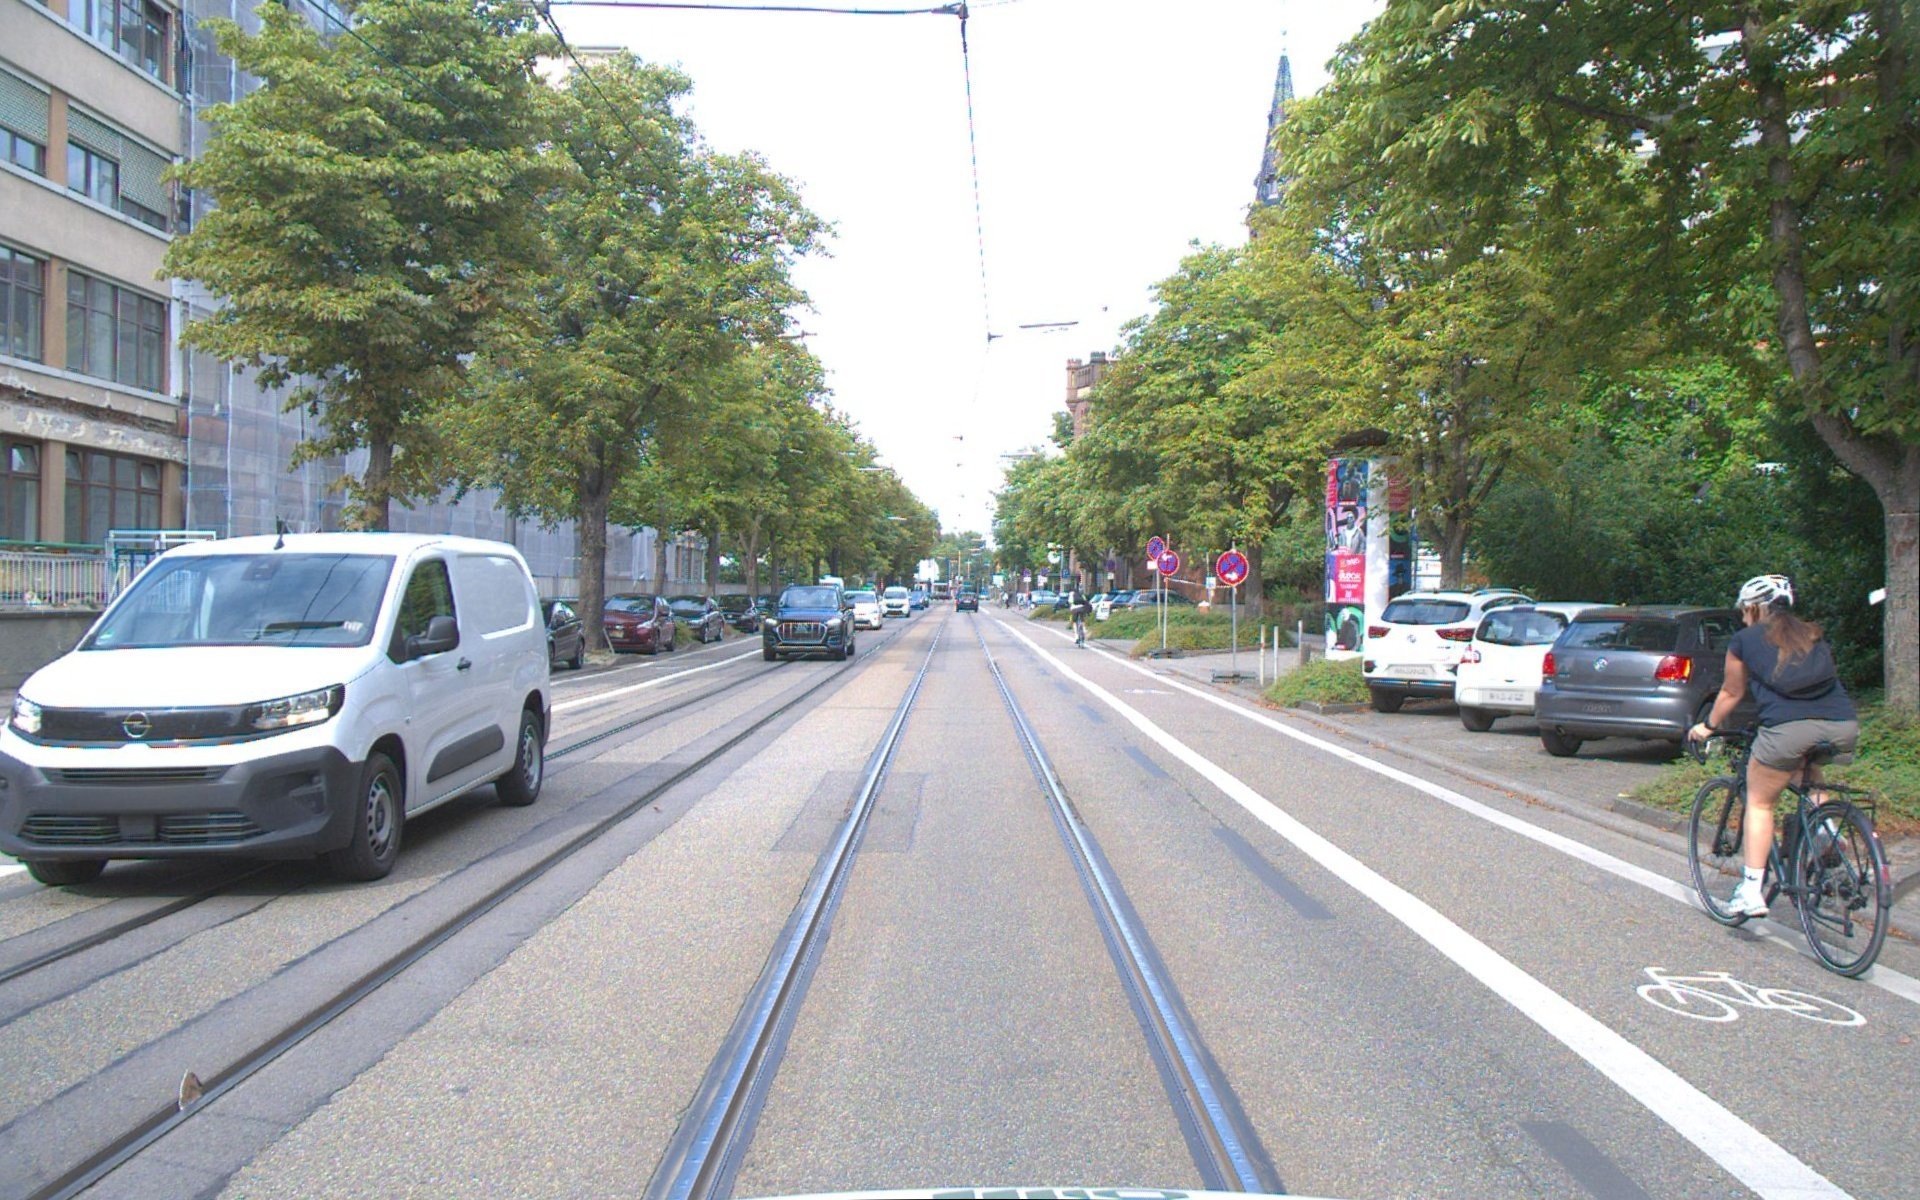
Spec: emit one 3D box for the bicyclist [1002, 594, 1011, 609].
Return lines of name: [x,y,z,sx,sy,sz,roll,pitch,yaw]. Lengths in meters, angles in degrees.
bicyclist: [4.680,0.128,167.071,0.828,1.531,0.769,1,0,7]

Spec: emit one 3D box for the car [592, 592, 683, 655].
car: [-8.262,0.564,42.667,1.602,1.522,3.962,1,0,-1]

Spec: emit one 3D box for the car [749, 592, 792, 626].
car: [-8.292,0.375,72.585,1.558,1.427,3.961,1,0,-2]

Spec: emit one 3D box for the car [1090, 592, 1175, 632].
car: [7.148,0.501,68.486,1.654,1.630,3.621,0,0,44]

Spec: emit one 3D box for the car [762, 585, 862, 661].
car: [-3.349,0.490,38.203,1.809,1.640,4.335,1,0,1]

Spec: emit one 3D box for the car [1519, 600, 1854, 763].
car: [7.306,0.743,16.503,3.612,1.444,1.658,1,0,-40]

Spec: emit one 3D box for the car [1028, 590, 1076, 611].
car: [8.073,0.034,144.866,3.910,1.722,1.998,1,0,-6]

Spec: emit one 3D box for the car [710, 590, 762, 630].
car: [-8.408,0.344,62.285,1.558,1.427,3.961,1,0,-2]

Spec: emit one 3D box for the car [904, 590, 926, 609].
car: [-3.705,-0.055,137.415,1.697,1.522,4.378,0,1,0]

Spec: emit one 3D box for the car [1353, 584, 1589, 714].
car: [7.049,0.634,22.643,1.654,1.630,3.621,0,0,44]

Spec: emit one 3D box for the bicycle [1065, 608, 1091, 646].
bicycle: [3.439,0.783,48.302,0.650,1.062,1.841,1,0,0]

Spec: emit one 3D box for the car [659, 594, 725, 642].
car: [-8.380,0.535,51.973,1.558,1.427,3.961,1,0,-2]

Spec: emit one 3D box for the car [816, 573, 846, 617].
car: [-8.282,-0.337,106.403,1.686,2.751,5.468,1,0,-2]

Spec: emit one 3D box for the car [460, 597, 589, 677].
car: [-8.380,0.676,32.113,1.558,1.427,3.961,1,0,-2]

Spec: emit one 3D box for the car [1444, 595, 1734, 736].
car: [7.436,0.718,19.432,3.612,1.500,1.658,1,0,-40]

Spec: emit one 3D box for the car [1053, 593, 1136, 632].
car: [5.760,0.524,70.612,1.654,1.630,3.621,0,0,44]

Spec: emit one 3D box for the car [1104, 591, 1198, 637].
car: [7.150,0.525,61.687,1.654,1.630,3.621,0,0,44]

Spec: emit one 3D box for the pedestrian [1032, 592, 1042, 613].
pedestrian: [6.711,0.229,144.689,0.732,1.821,0.731,1,-1,15]

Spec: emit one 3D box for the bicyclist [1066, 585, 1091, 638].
bicyclist: [3.445,0.316,48.217,0.645,1.522,0.929,1,0,0]

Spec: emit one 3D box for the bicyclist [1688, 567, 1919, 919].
bicyclist: [3.782,0.605,7.447,0.581,1.485,0.875,1,0,-2]

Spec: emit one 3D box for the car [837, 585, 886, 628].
car: [-3.892,0.236,65.746,1.697,1.640,4.334,0,0,0]

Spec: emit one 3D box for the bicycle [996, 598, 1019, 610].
bicycle: [4.769,0.386,167.067,2.226,1.210,0.769,1,0,7]

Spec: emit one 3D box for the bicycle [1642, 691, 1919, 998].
bicycle: [3.776,0.999,7.371,0.581,1.062,1.977,1,0,-2]

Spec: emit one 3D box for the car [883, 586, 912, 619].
car: [-3.777,0.148,99.404,1.697,1.917,4.376,1,0,-2]

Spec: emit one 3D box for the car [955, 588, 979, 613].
car: [0.533,0.042,127.830,1.758,1.855,4.677,1,0,-1]

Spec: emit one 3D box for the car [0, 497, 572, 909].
car: [-3.741,0.456,9.907,1.758,1.855,4.677,1,0,-1]
